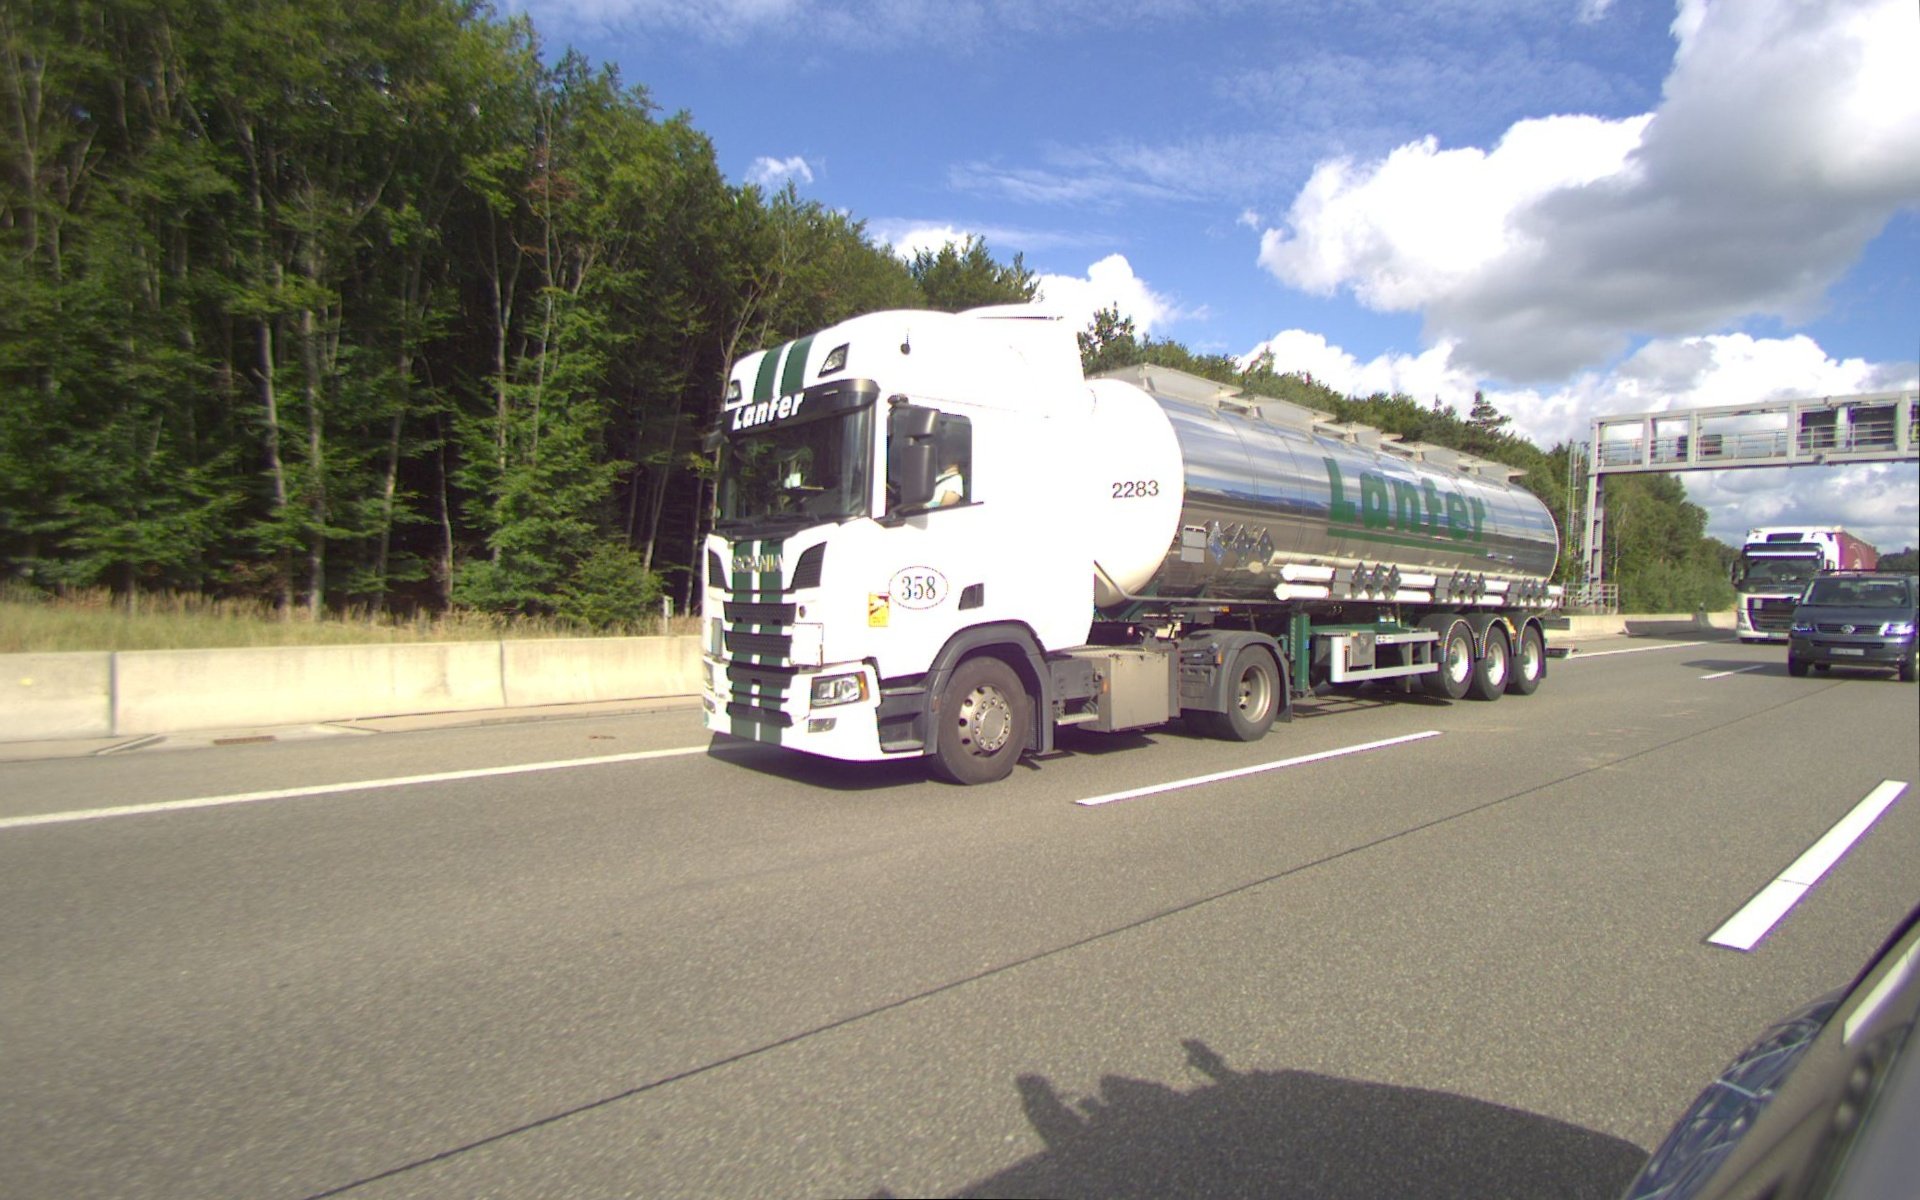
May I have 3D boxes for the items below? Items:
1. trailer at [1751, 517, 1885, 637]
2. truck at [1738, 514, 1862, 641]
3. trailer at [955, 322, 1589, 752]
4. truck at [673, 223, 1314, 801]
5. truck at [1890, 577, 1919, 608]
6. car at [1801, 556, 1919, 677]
[{"bbox_3d":[34.333,-0.791,40.207,13.486,4.096,2.776,0,0,-44],"label":"trailer"},{"bbox_3d":[29.669,-0.757,35.667,5.677,4.096,2.776,0,0,-44],"label":"truck"},{"bbox_3d":[5.182,-0.582,13.874,11.655,3.814,2.653,0,1,-42],"label":"trailer"},{"bbox_3d":[0.636,-0.614,9.768,5.976,3.871,2.653,0,1,-42],"label":"truck"},{"bbox_3d":[117.689,-0.923,125.819,3.010,3.730,7.444,2,1,43],"label":"truck"},{"bbox_3d":[18.314,0.282,20.061,4.847,2.136,1.852,0,0,-42],"label":"car"}]
